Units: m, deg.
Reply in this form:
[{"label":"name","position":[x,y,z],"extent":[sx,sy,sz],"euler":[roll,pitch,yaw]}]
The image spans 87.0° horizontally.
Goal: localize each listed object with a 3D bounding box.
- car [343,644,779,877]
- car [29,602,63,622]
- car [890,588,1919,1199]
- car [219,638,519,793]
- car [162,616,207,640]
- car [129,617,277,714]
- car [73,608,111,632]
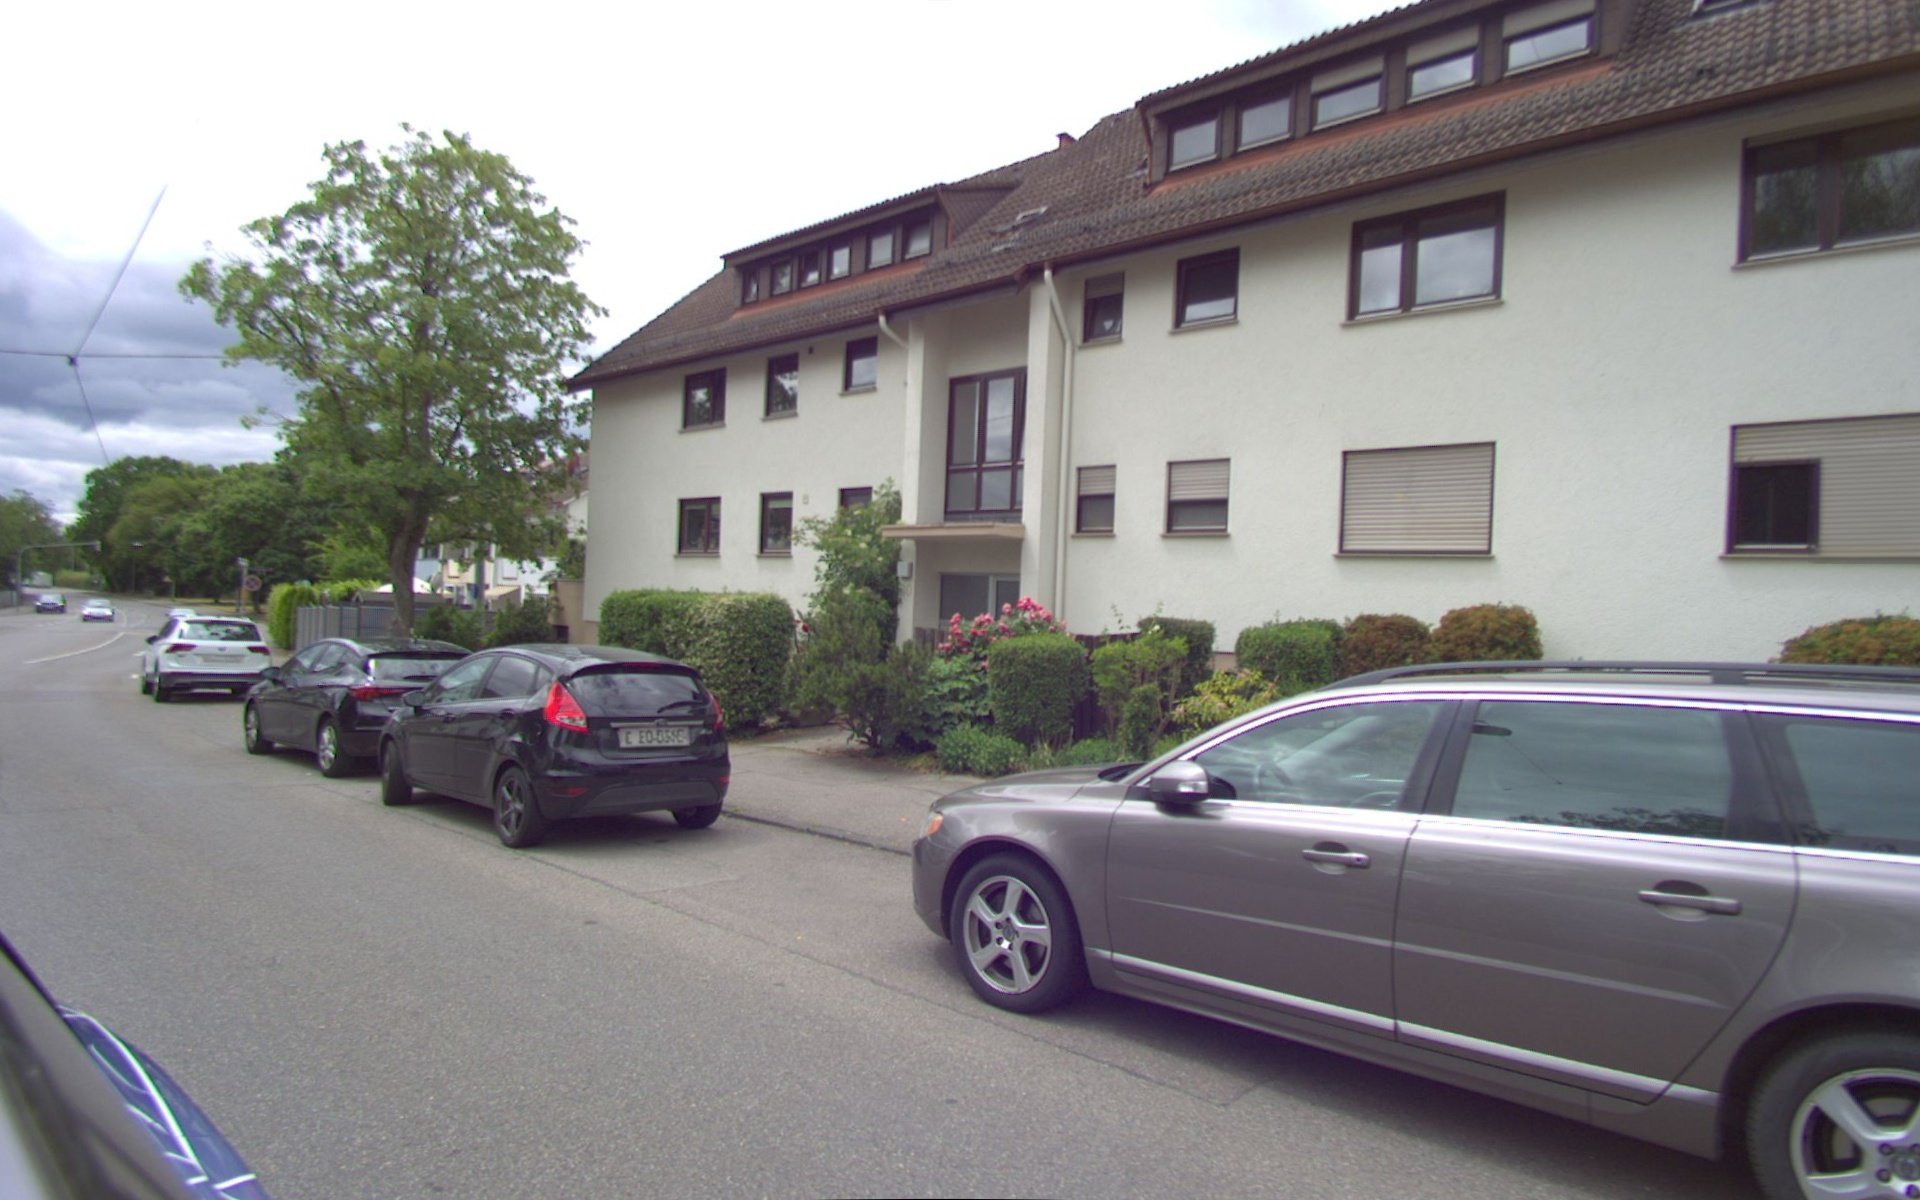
[{"label":"car","position":[-3.543,1.157,8.633],"extent":[4.076,1.449,1.744],"euler":[-1,-4,41]},{"label":"car","position":[-75.981,0.974,84.166],"extent":[1.897,1.530,4.008],"euler":[2,0,-39]},{"label":"car","position":[2.100,0.881,3.716],"extent":[4.785,1.693,1.827],"euler":[0,-4,41]},{"label":"car","position":[-7.022,1.223,11.868],"extent":[4.075,1.449,1.744],"euler":[-1,-4,41]},{"label":"car","position":[-50.081,1.781,65.435],"extent":[1.689,1.364,4.096],"euler":[4,-2,-30]},{"label":"car","position":[-15.541,1.257,20.670],"extent":[1.828,1.727,4.579],"euler":[4,-3,-43]},{"label":"car","position":[-62.669,1.417,73.053],"extent":[3.560,1.530,1.755],"euler":[2,1,44]}]
